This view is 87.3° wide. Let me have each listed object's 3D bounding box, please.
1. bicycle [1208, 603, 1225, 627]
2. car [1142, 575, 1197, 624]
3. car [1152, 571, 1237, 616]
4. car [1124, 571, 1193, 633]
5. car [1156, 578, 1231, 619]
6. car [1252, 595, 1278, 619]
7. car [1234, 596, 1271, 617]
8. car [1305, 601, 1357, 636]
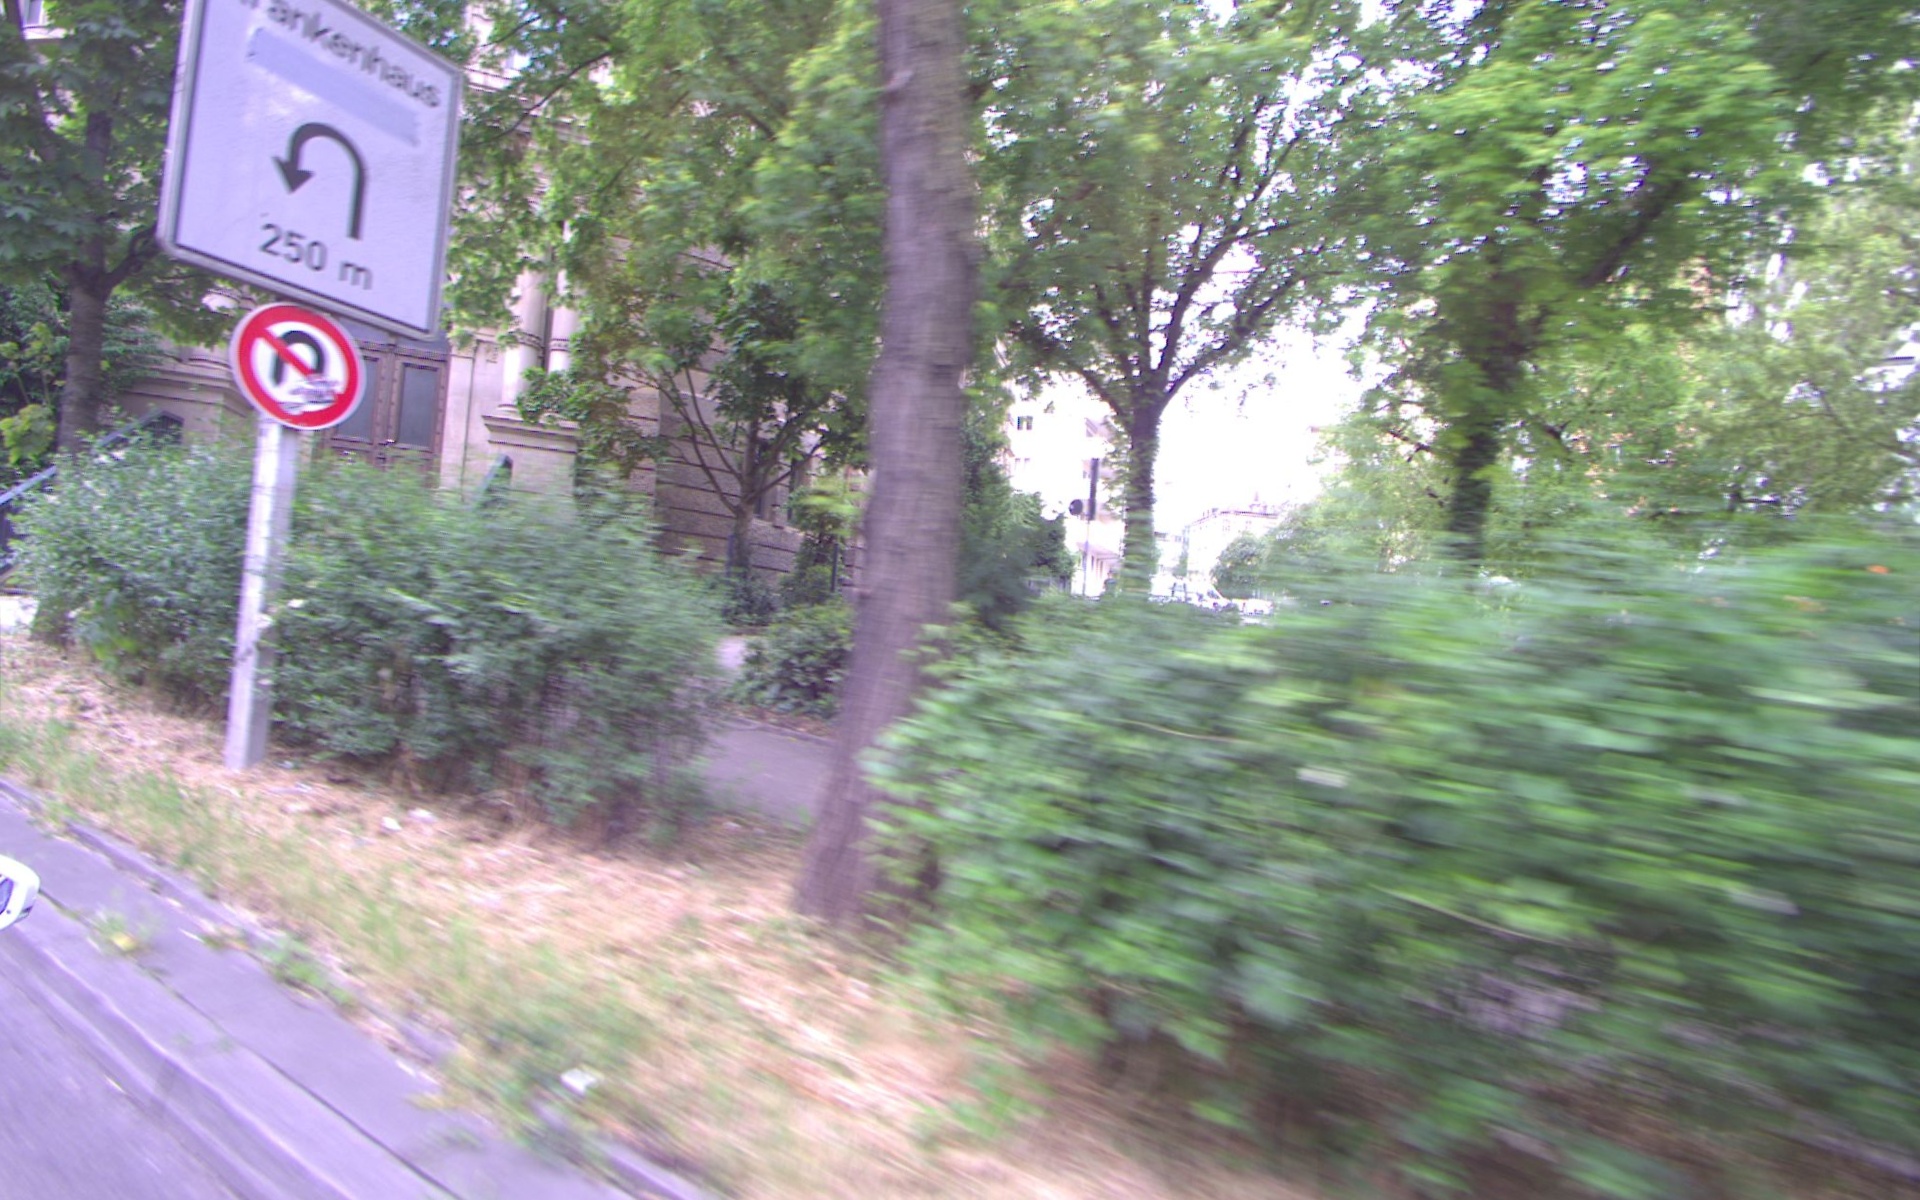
[{"bbox_3d":[13.574,0.808,53.275,0.597,1.057,2.069,8,-2,9],"label":"bicycle"},{"bbox_3d":[9.133,0.015,43.603,1.962,1.776,4.889,8,1,13],"label":"car"},{"bbox_3d":[18.215,-0.468,78.174,6.080,2.669,2.001,7,1,13],"label":"car"},{"bbox_3d":[7.307,0.049,36.560,2.136,1.959,5.215,4,1,13],"label":"car"},{"bbox_3d":[16.234,-0.090,70.171,4.796,2.246,2.001,7,1,11],"label":"car"},{"bbox_3d":[29.681,0.713,97.979,1.962,2.038,4.002,7,0,13],"label":"car"},{"bbox_3d":[23.196,0.497,79.899,1.962,1.371,4.001,7,0,6],"label":"car"},{"bbox_3d":[22.496,1.084,61.121,1.962,1.777,4.889,7,1,10],"label":"car"}]
